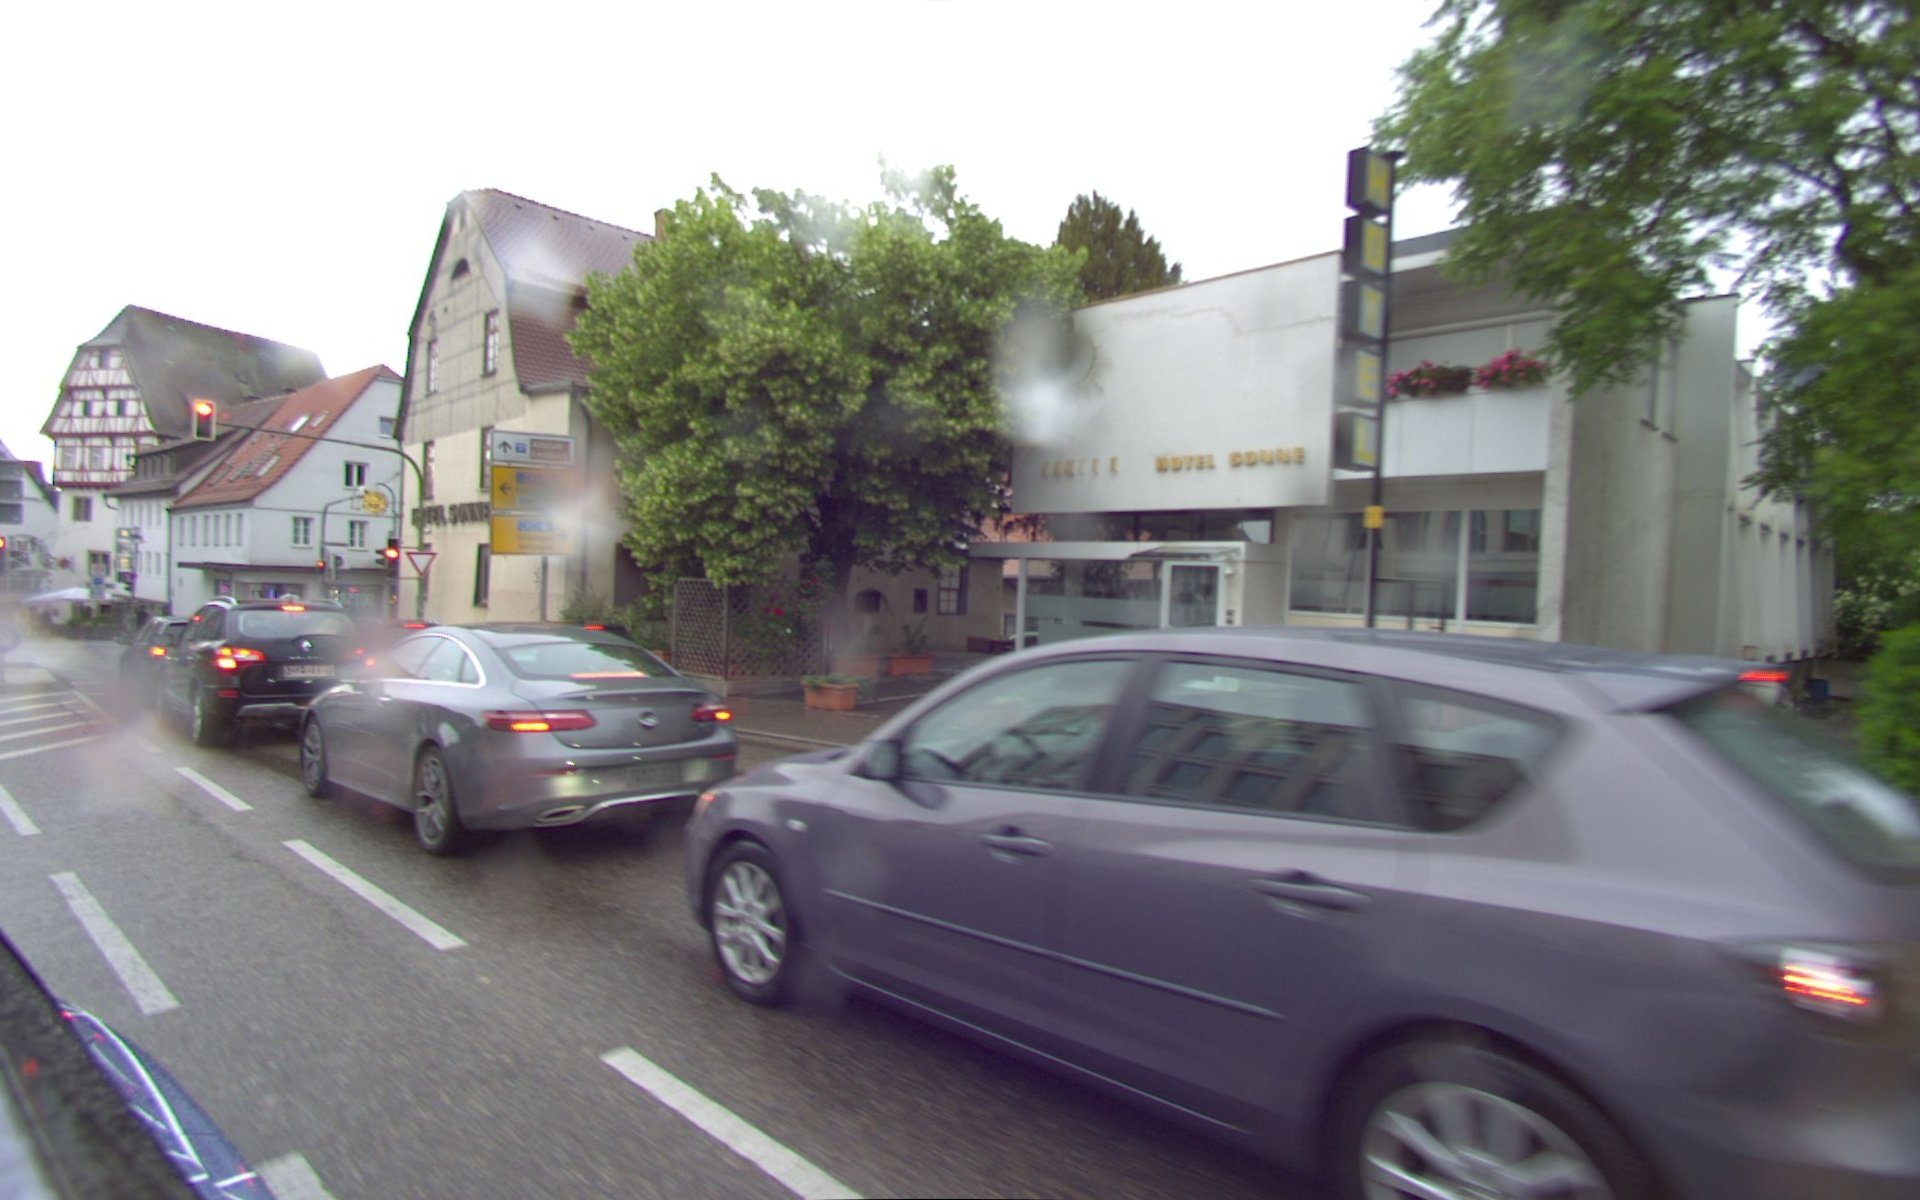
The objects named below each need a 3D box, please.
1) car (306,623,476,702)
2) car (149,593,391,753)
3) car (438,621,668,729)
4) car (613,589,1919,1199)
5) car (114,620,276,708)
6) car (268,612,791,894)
[{"bbox_3d":[-10.772,1.093,19.043,1.827,1.303,4.035,1,-1,-44],"label":"car"},{"bbox_3d":[-8.784,0.798,12.738,1.827,1.676,4.222,1,-1,-44],"label":"car"},{"bbox_3d":[-6.123,1.003,15.003,4.062,1.364,1.717,-1,-1,45],"label":"car"},{"bbox_3d":[0.729,0.744,3.452,1.778,1.450,4.692,1,-1,-45],"label":"car"},{"bbox_3d":[-13.643,1.050,17.970,1.792,1.374,3.749,1,-1,-45],"label":"car"},{"bbox_3d":[-3.545,0.833,7.688,5.018,1.451,1.919,-1,-1,45],"label":"car"}]
